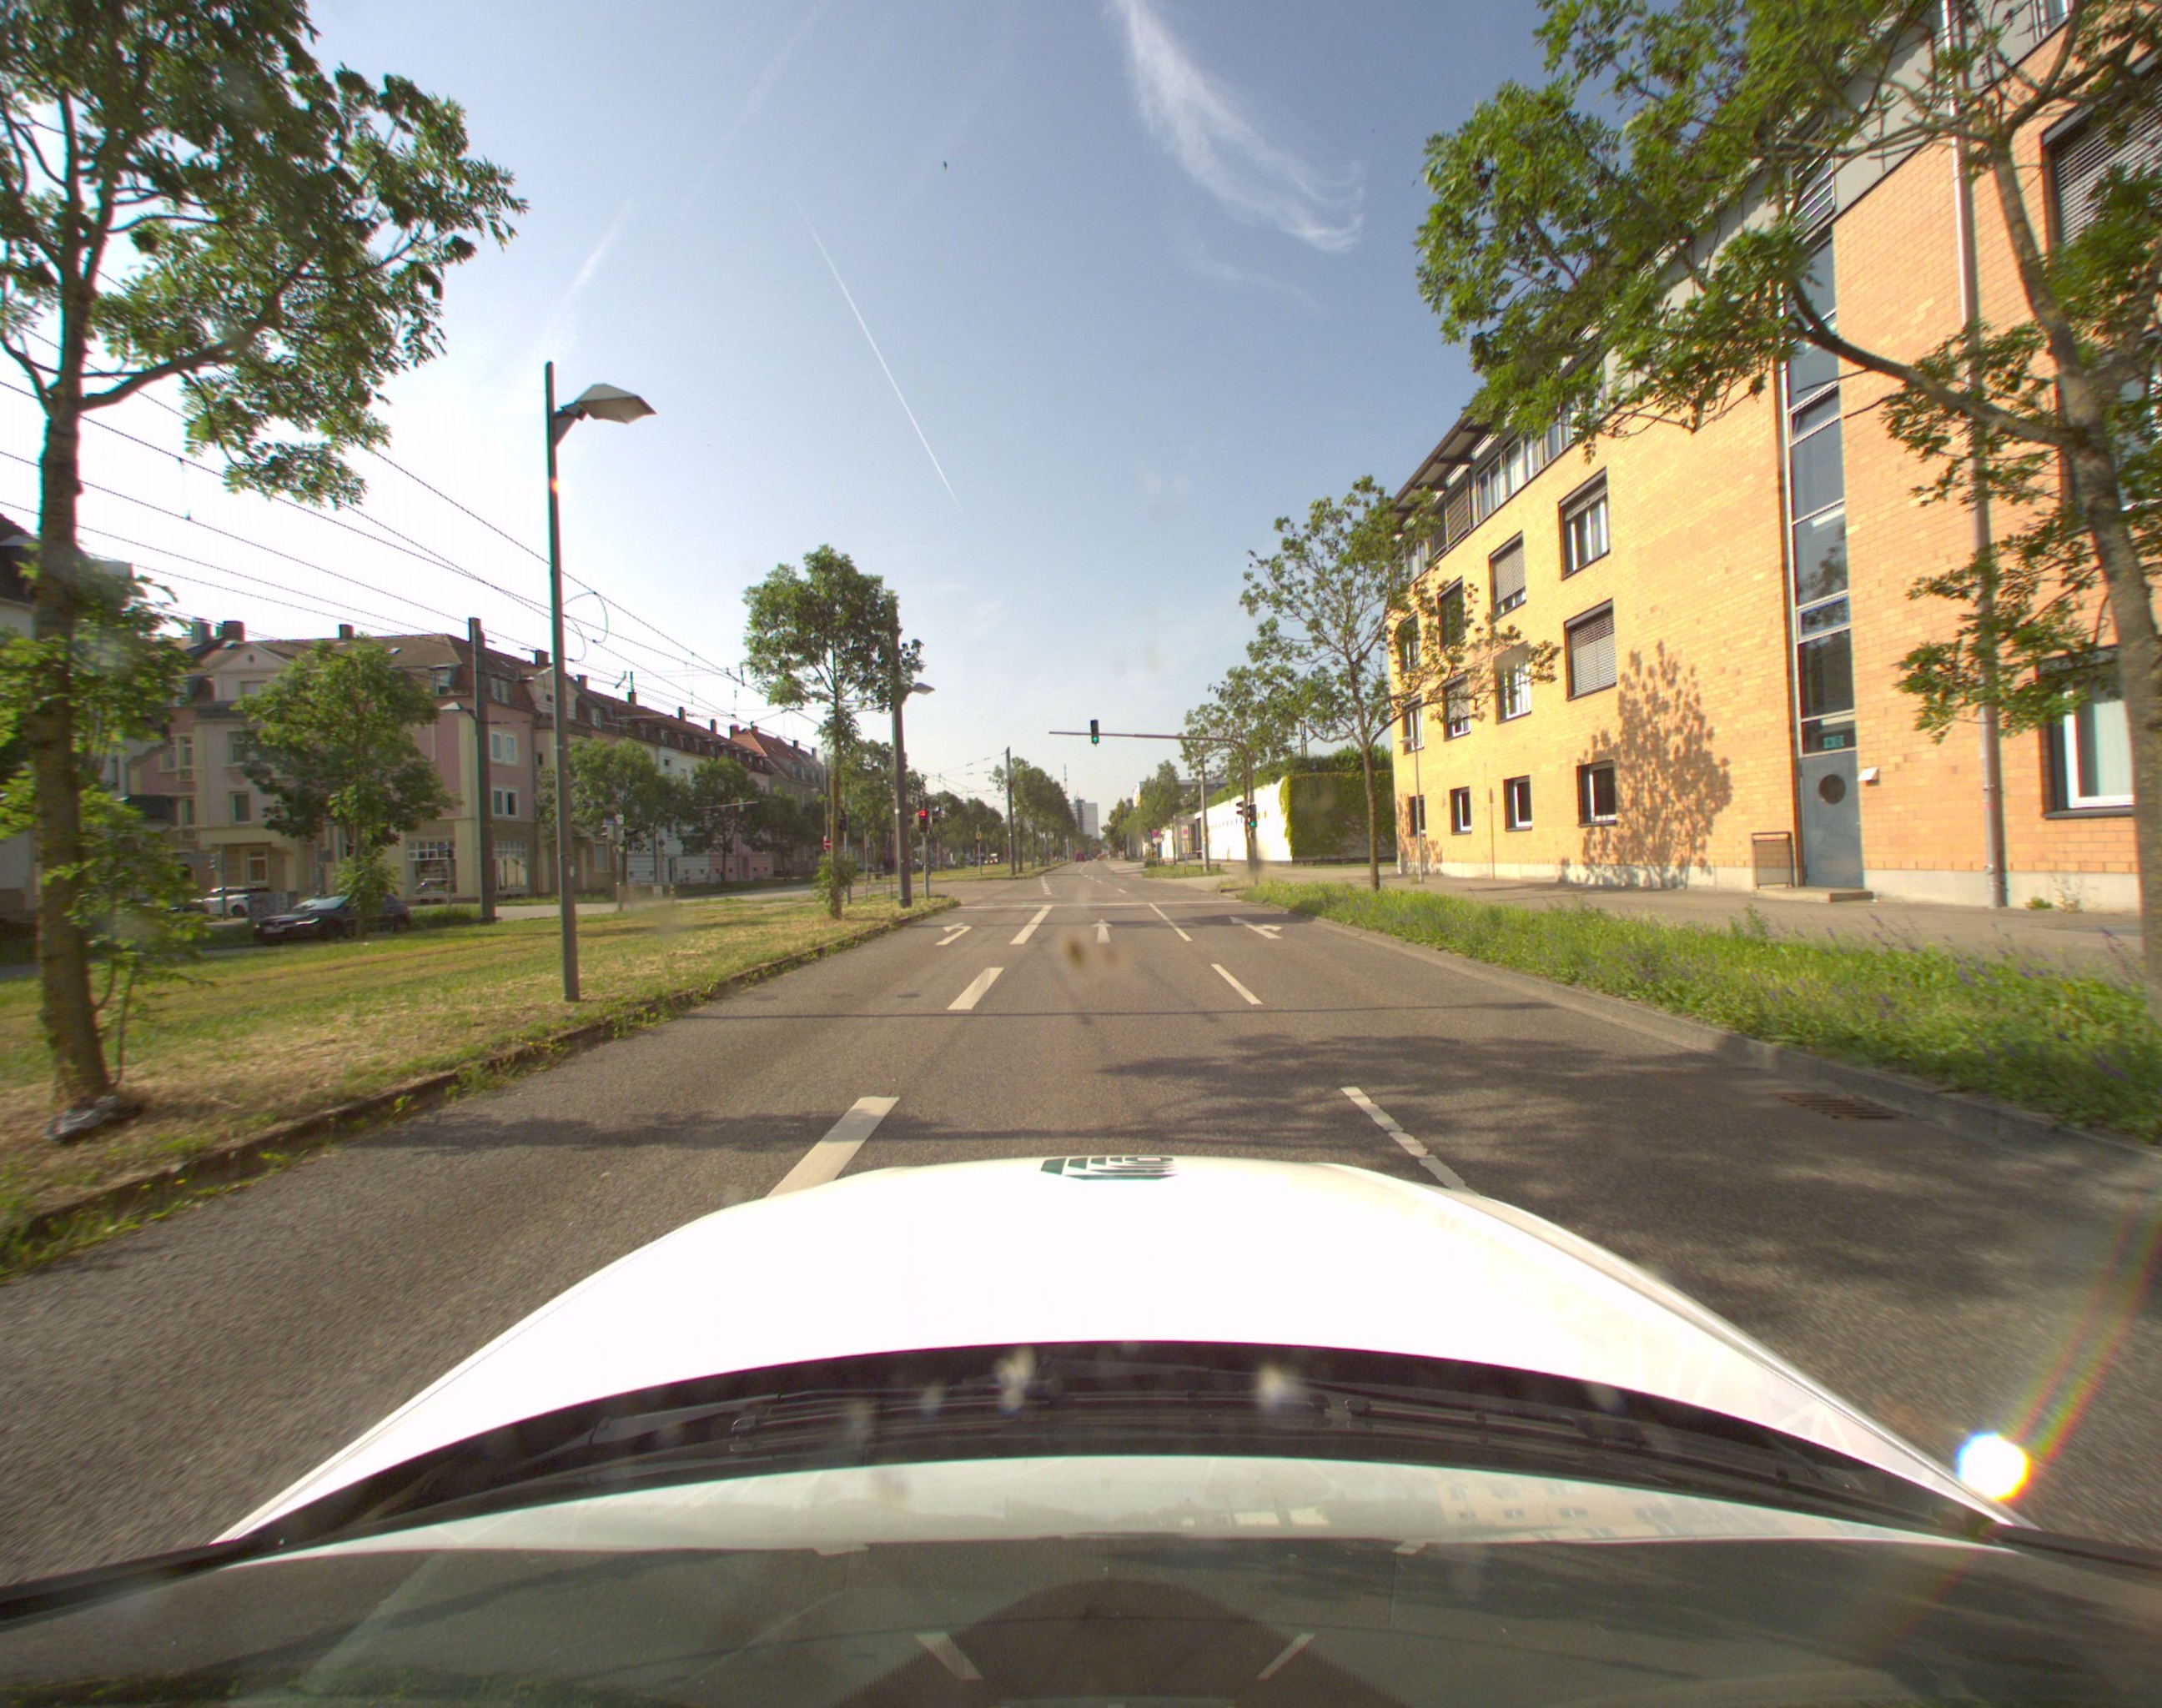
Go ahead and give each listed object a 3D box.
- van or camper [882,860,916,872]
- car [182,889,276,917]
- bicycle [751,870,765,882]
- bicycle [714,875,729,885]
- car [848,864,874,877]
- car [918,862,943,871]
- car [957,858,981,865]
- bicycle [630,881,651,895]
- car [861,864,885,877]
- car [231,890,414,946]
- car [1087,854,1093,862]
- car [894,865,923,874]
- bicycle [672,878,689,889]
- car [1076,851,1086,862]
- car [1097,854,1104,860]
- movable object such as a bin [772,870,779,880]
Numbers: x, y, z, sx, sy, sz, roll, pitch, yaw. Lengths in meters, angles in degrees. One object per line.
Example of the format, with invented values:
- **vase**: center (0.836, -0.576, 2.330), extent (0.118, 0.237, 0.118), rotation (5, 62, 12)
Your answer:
- **van or camper**: center (-26.404, 1.758, 118.026), extent (4.788, 1.623, 2.015), rotation (0, -1, 33)
- **car**: center (-46.458, 2.684, 44.462), extent (3.388, 1.462, 1.569), rotation (0, -1, -2)
- **bicycle**: center (-31.406, 2.173, 79.237), extent (0.602, 1.128, 1.947), rotation (0, -1, -1)
- **bicycle**: center (-31.564, 2.312, 71.534), extent (0.446, 0.857, 1.947), rotation (0, -1, 0)
- **car**: center (-28.255, 2.113, 104.667), extent (1.987, 1.628, 4.773), rotation (0, 0, -1)
- **car**: center (-25.231, 2.119, 136.790), extent (3.950, 1.417, 1.586), rotation (0, -1, 26)
- **car**: center (-25.161, 1.686, 182.651), extent (5.258, 1.738, 2.013), rotation (0, -1, 34)
- **bicycle**: center (-31.686, 2.438, 58.633), extent (0.466, 0.889, 1.947), rotation (0, -1, 0)
- **car**: center (-28.157, 2.231, 110.406), extent (1.882, 1.628, 4.160), rotation (0, 0, 4)
- **car**: center (-22.721, 1.879, 24.633), extent (1.806, 1.433, 3.925), rotation (0, -1, 0)
- **car**: center (2.495, 1.049, 221.252), extent (1.742, 2.014, 3.217), rotation (0, -1, 2)
- **car**: center (-26.192, 2.330, 123.713), extent (4.419, 1.419, 1.988), rotation (-1, -1, 38)
- **bicycle**: center (-31.835, 2.336, 64.764), extent (0.436, 0.789, 1.947), rotation (0, -1, 0)
- **car**: center (0.098, 0.467, 150.519), extent (1.742, 2.014, 3.217), rotation (0, -1, 2)
- **car**: center (5.480, 0.919, 226.515), extent (1.742, 1.650, 3.217), rotation (0, -1, 2)
- **movable object such as a bin**: center (-37.044, 2.554, 98.793), extent (0.583, 1.211, 0.640), rotation (0, -1, -1)
